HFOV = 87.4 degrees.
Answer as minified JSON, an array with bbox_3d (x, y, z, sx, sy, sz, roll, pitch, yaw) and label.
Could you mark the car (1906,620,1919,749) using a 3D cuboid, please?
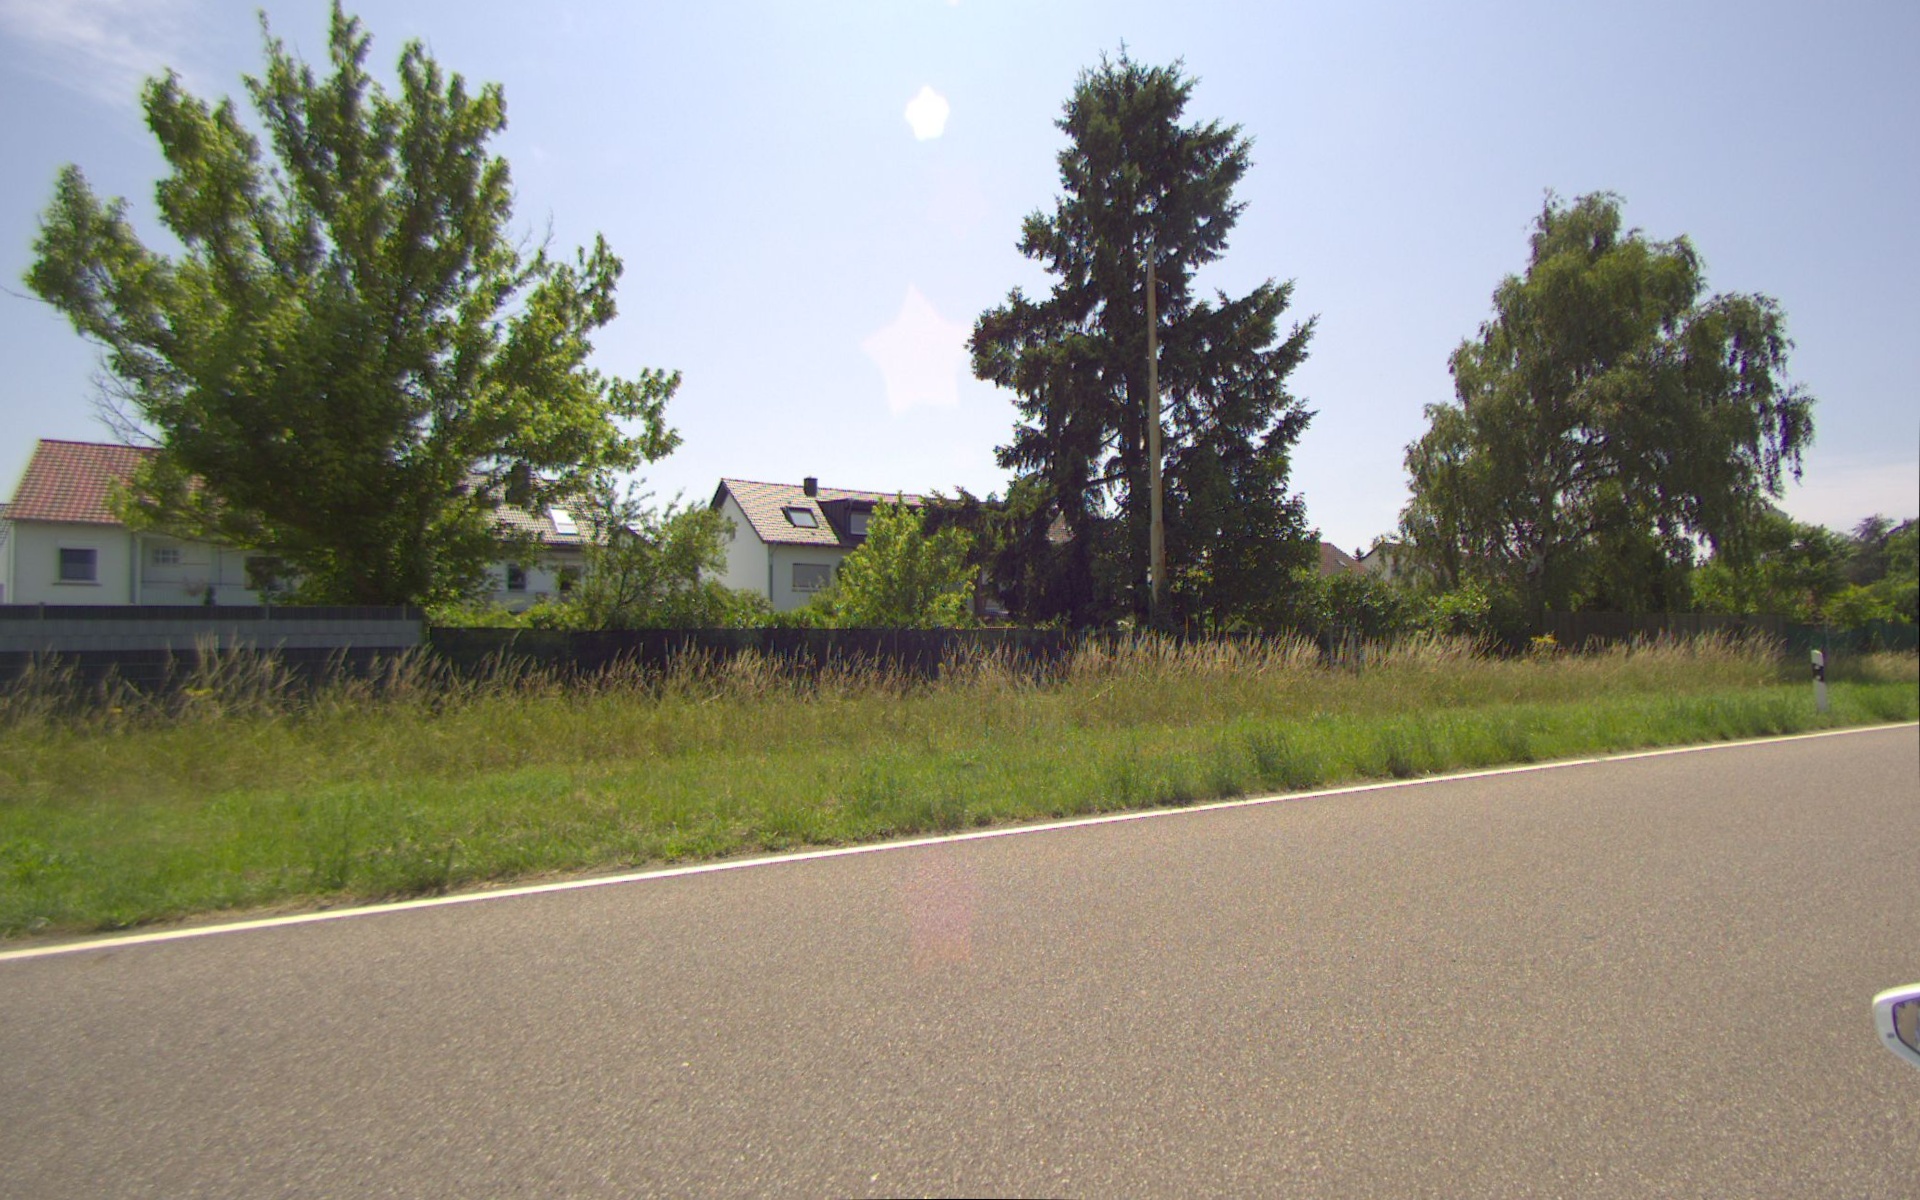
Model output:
[{"bbox_3d":[12.960,0.948,11.682,4.273,1.441,1.748,1,-1,-31],"label":"car"}]
